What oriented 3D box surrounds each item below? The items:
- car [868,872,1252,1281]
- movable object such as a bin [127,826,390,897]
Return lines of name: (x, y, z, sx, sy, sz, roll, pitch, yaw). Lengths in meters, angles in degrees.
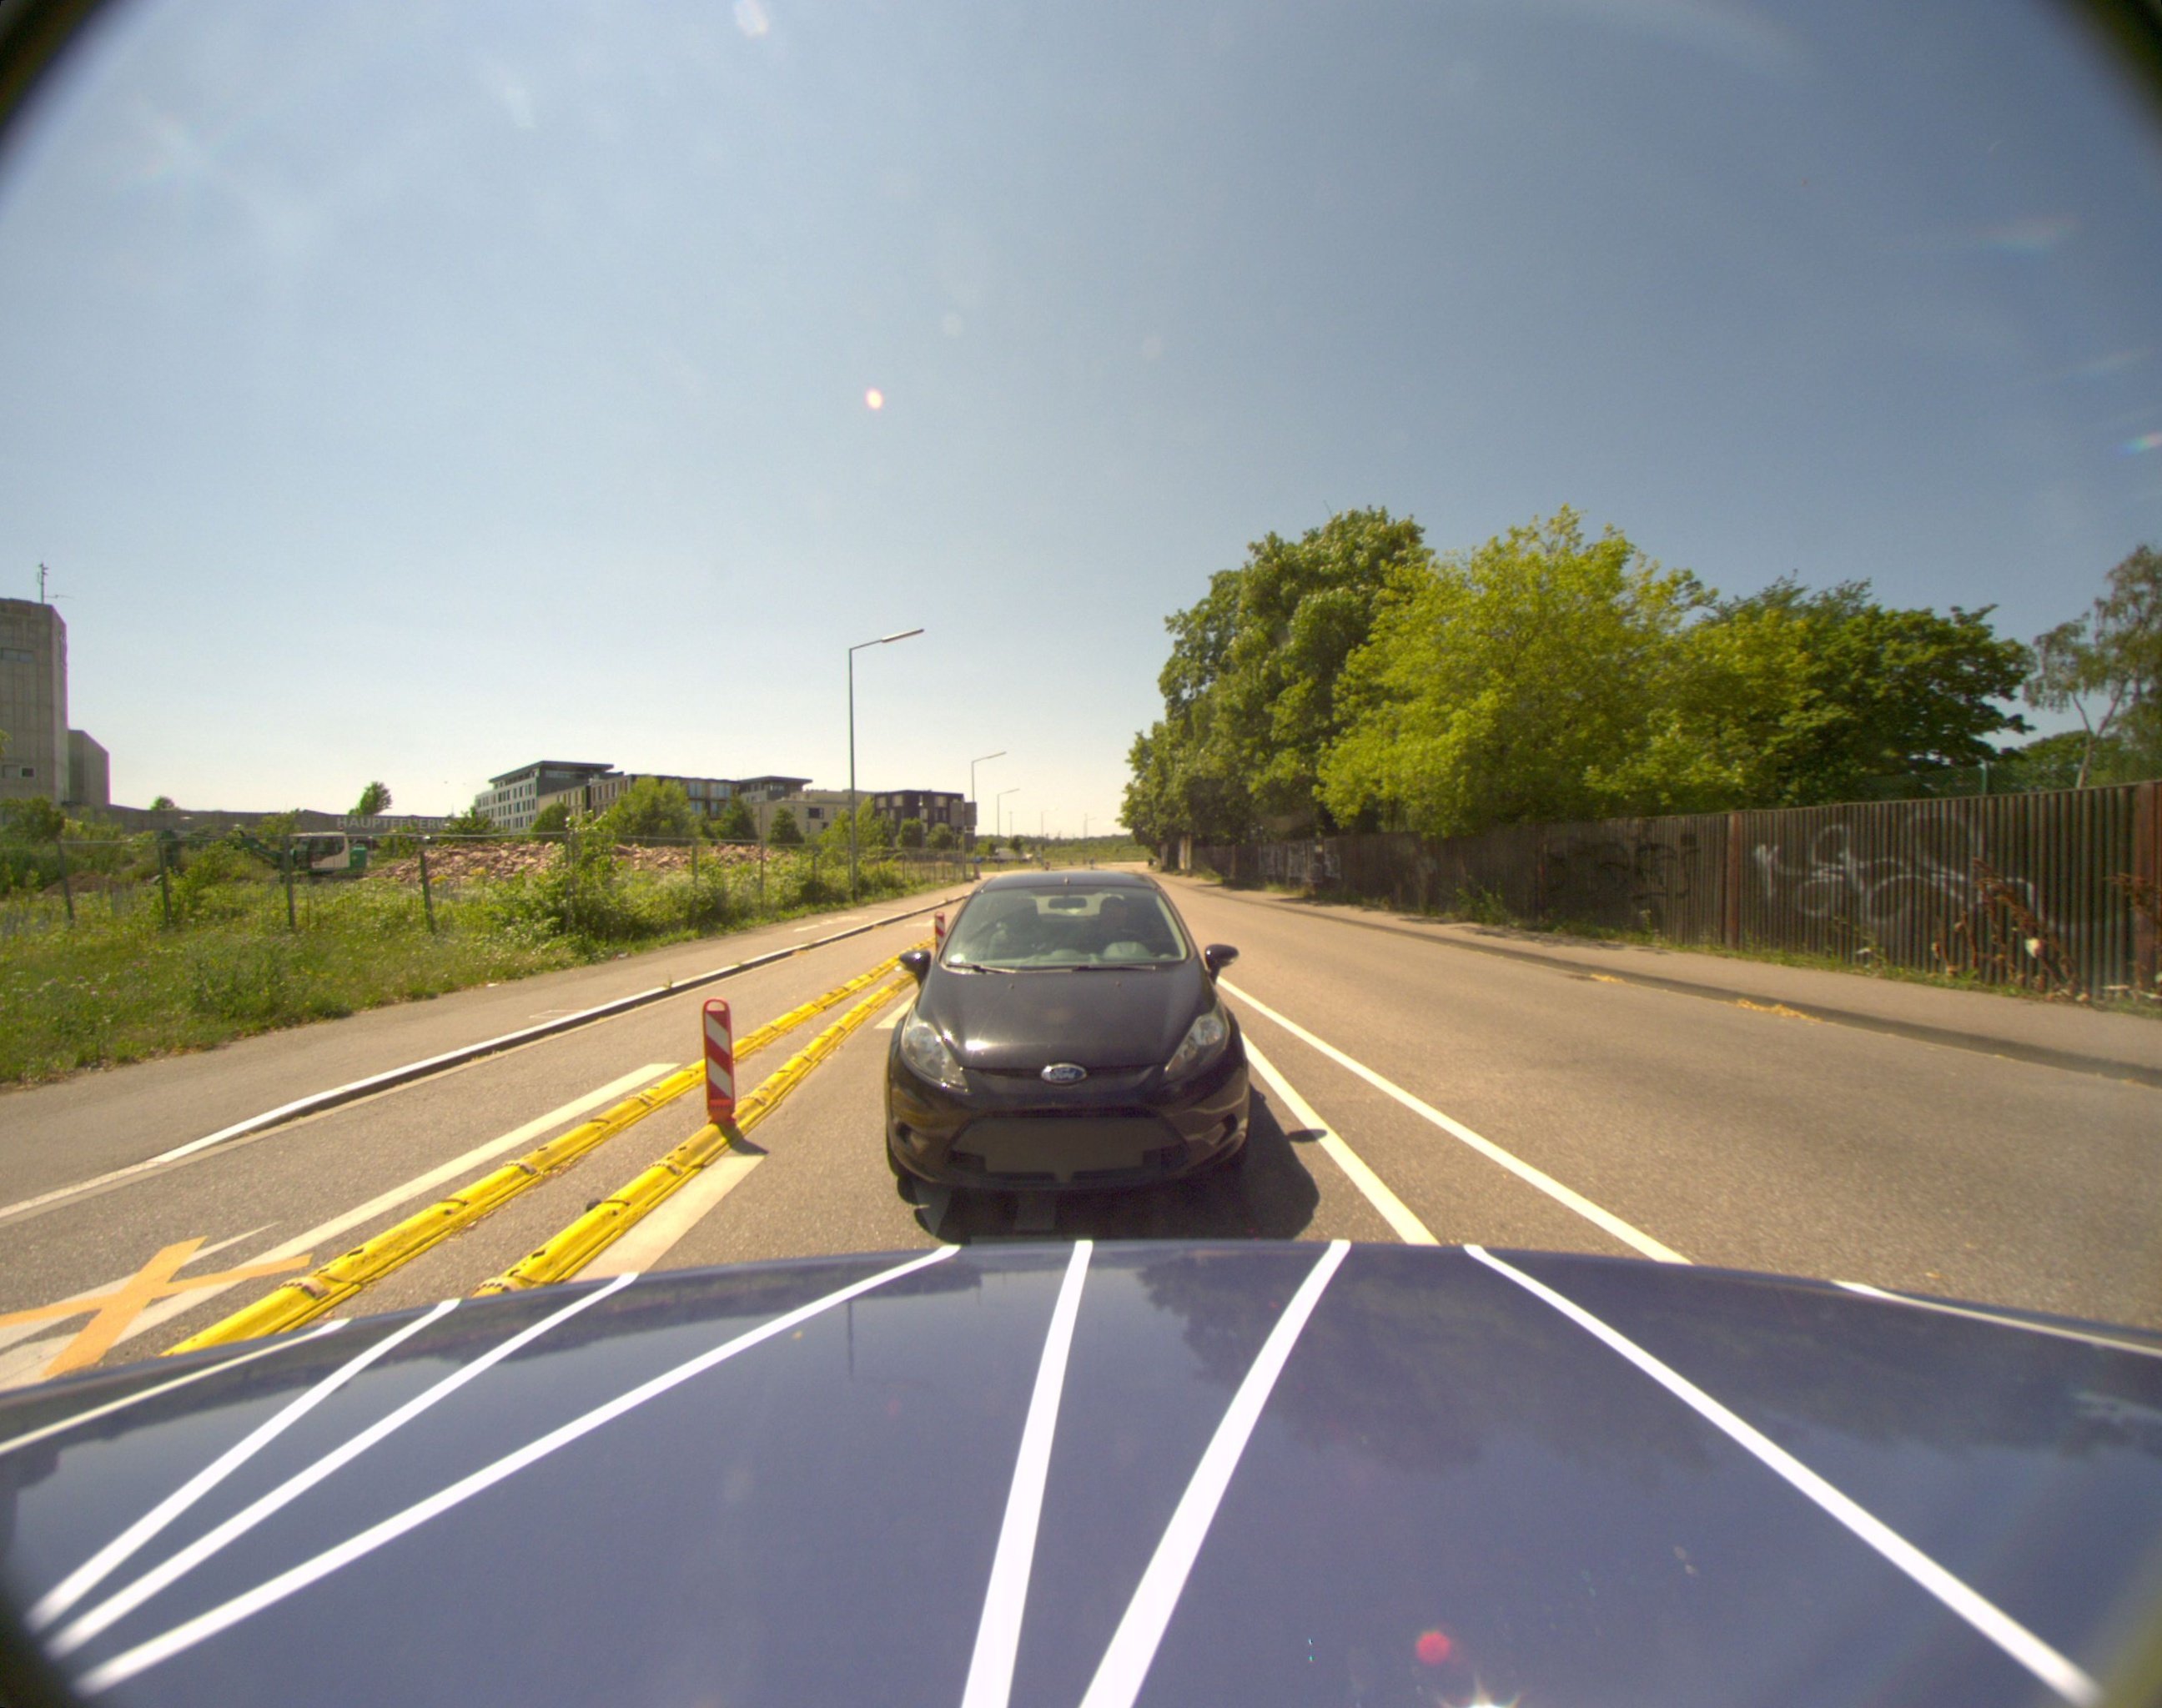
car: (-0.059, 0.972, 5.138, 1.528, 1.510, 3.999, -2, 1, 1)
movable object such as a bin: (-38.335, 0.254, 35.940, 3.231, 2.899, 7.702, -2, 1, 15)
